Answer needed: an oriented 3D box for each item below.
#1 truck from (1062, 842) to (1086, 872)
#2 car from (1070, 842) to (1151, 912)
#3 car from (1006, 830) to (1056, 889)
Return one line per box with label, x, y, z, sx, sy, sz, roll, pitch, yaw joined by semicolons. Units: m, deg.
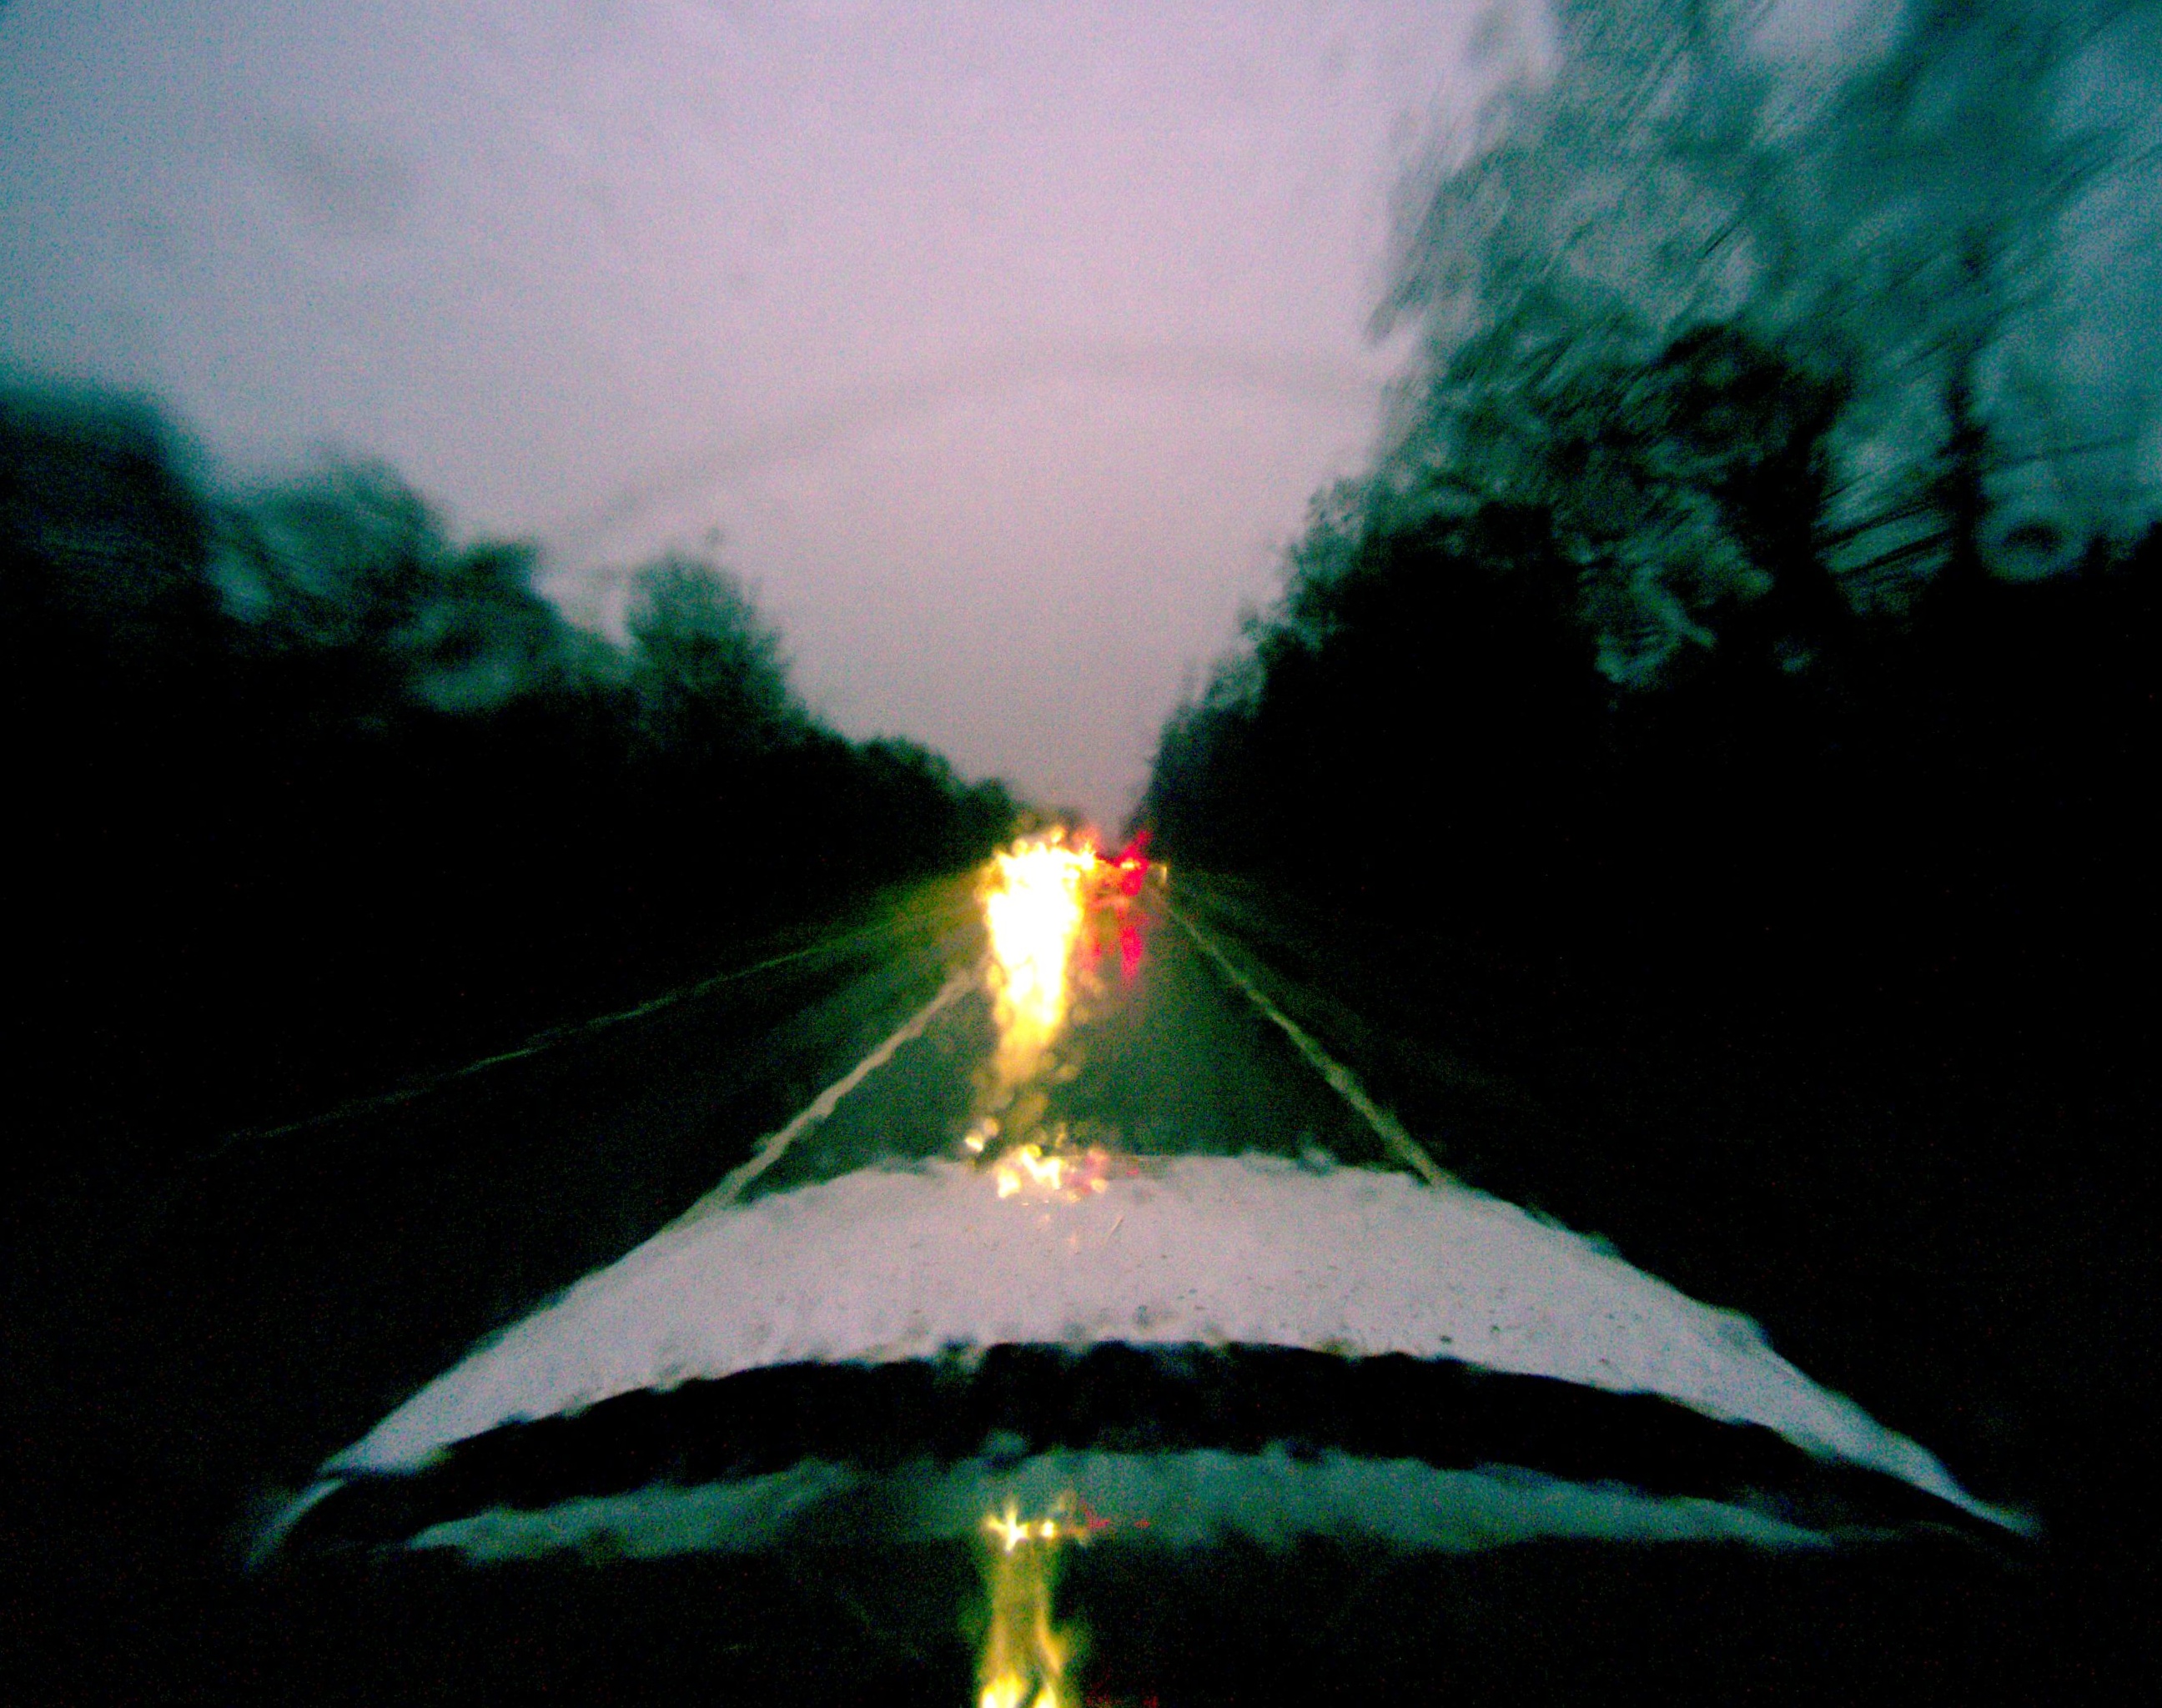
truck;-0.663;0.287;80.707;2.095;2.771;6.874;0;0;2
car;0.870;0.627;24.426;2.190;1.877;4.828;0;0;2
car;-2.493;0.267;42.469;2.066;2.811;6.653;-1;0;1
